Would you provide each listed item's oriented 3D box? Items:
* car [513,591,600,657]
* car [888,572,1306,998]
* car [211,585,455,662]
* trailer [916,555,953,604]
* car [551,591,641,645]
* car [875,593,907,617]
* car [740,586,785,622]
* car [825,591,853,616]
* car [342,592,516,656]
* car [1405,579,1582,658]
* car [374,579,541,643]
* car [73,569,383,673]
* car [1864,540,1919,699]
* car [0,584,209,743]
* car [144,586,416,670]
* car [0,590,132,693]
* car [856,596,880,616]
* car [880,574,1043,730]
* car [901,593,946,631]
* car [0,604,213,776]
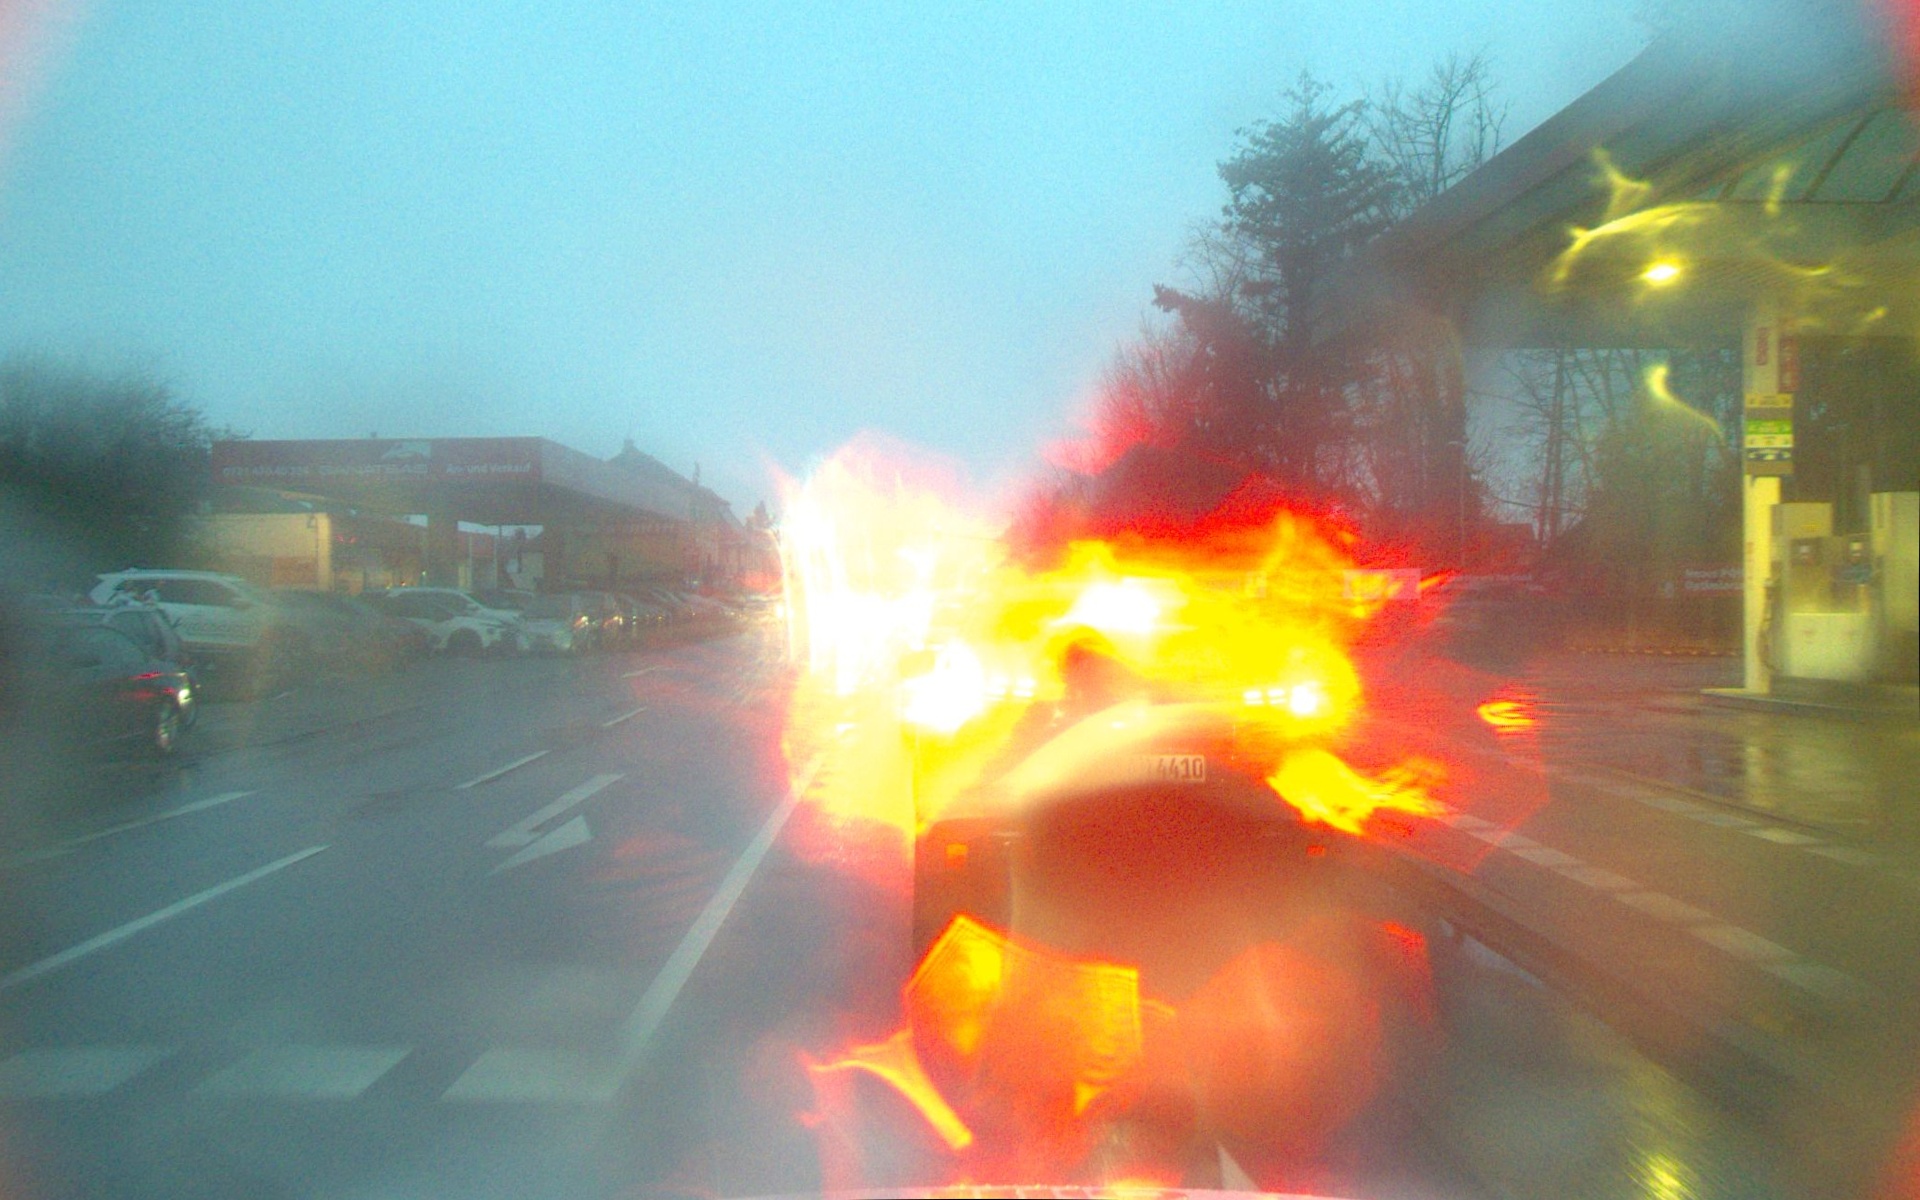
[{"bbox_3d":[-10.184,0.576,41.909,1.487,1.570,3.014,-2,0,-2],"label":"car"},{"bbox_3d":[0.474,0.668,8.068,1.533,1.556,4.006,0,0,-1],"label":"car"},{"bbox_3d":[-12.639,0.460,33.525,4.247,1.524,1.825,0,0,-1],"label":"car"},{"bbox_3d":[-1.878,-1.395,117.165,2.438,3.297,10.864,0,0,-2],"label":"trailer"},{"bbox_3d":[-10.136,0.477,46.328,1.648,1.445,3.740,0,0,0],"label":"car"},{"bbox_3d":[-4.837,0.371,115.554,2.007,1.600,4.699,-1,0,-4],"label":"car"},{"bbox_3d":[-10.690,0.201,89.855,1.931,1.862,4.511,-2,0,-1],"label":"car"},{"bbox_3d":[-7.831,0.207,107.336,1.571,1.561,3.998,-2,0,-2],"label":"car"},{"bbox_3d":[-12.966,0.583,40.544,3.697,1.485,1.775,1,0,-4],"label":"car"},{"bbox_3d":[11.916,0.367,36.803,1.986,1.636,4.451,0,0,45],"label":"car"},{"bbox_3d":[-13.784,0.294,45.532,3.964,1.679,1.942,0,0,0],"label":"car"},{"bbox_3d":[-12.503,0.339,28.506,4.446,1.706,2.008,0,0,-6],"label":"car"},{"bbox_3d":[12.398,0.211,18.618,1.953,1.892,4.297,-2,0,-2],"label":"car"},{"bbox_3d":[-10.032,0.669,19.071,1.147,1.673,2.872,-1,1,7],"label":"car"},{"bbox_3d":[-12.665,0.506,30.984,4.246,1.524,1.995,0,0,1],"label":"car"},{"bbox_3d":[-16.441,0.686,29.501,1.636,1.706,3.704,0,0,-3],"label":"car"},{"bbox_3d":[-8.813,0.581,158.660,1.952,1.777,4.001,-2,0,2],"label":"car"},{"bbox_3d":[-0.015,0.523,19.362,1.673,1.603,4.463,0,0,-1],"label":"car"},{"bbox_3d":[-1.349,0.440,61.776,1.620,1.359,4.271,0,0,-1],"label":"car"},{"bbox_3d":[-8.379,0.782,14.916,1.539,1.345,4.253,-2,-1,-3],"label":"car"}]
